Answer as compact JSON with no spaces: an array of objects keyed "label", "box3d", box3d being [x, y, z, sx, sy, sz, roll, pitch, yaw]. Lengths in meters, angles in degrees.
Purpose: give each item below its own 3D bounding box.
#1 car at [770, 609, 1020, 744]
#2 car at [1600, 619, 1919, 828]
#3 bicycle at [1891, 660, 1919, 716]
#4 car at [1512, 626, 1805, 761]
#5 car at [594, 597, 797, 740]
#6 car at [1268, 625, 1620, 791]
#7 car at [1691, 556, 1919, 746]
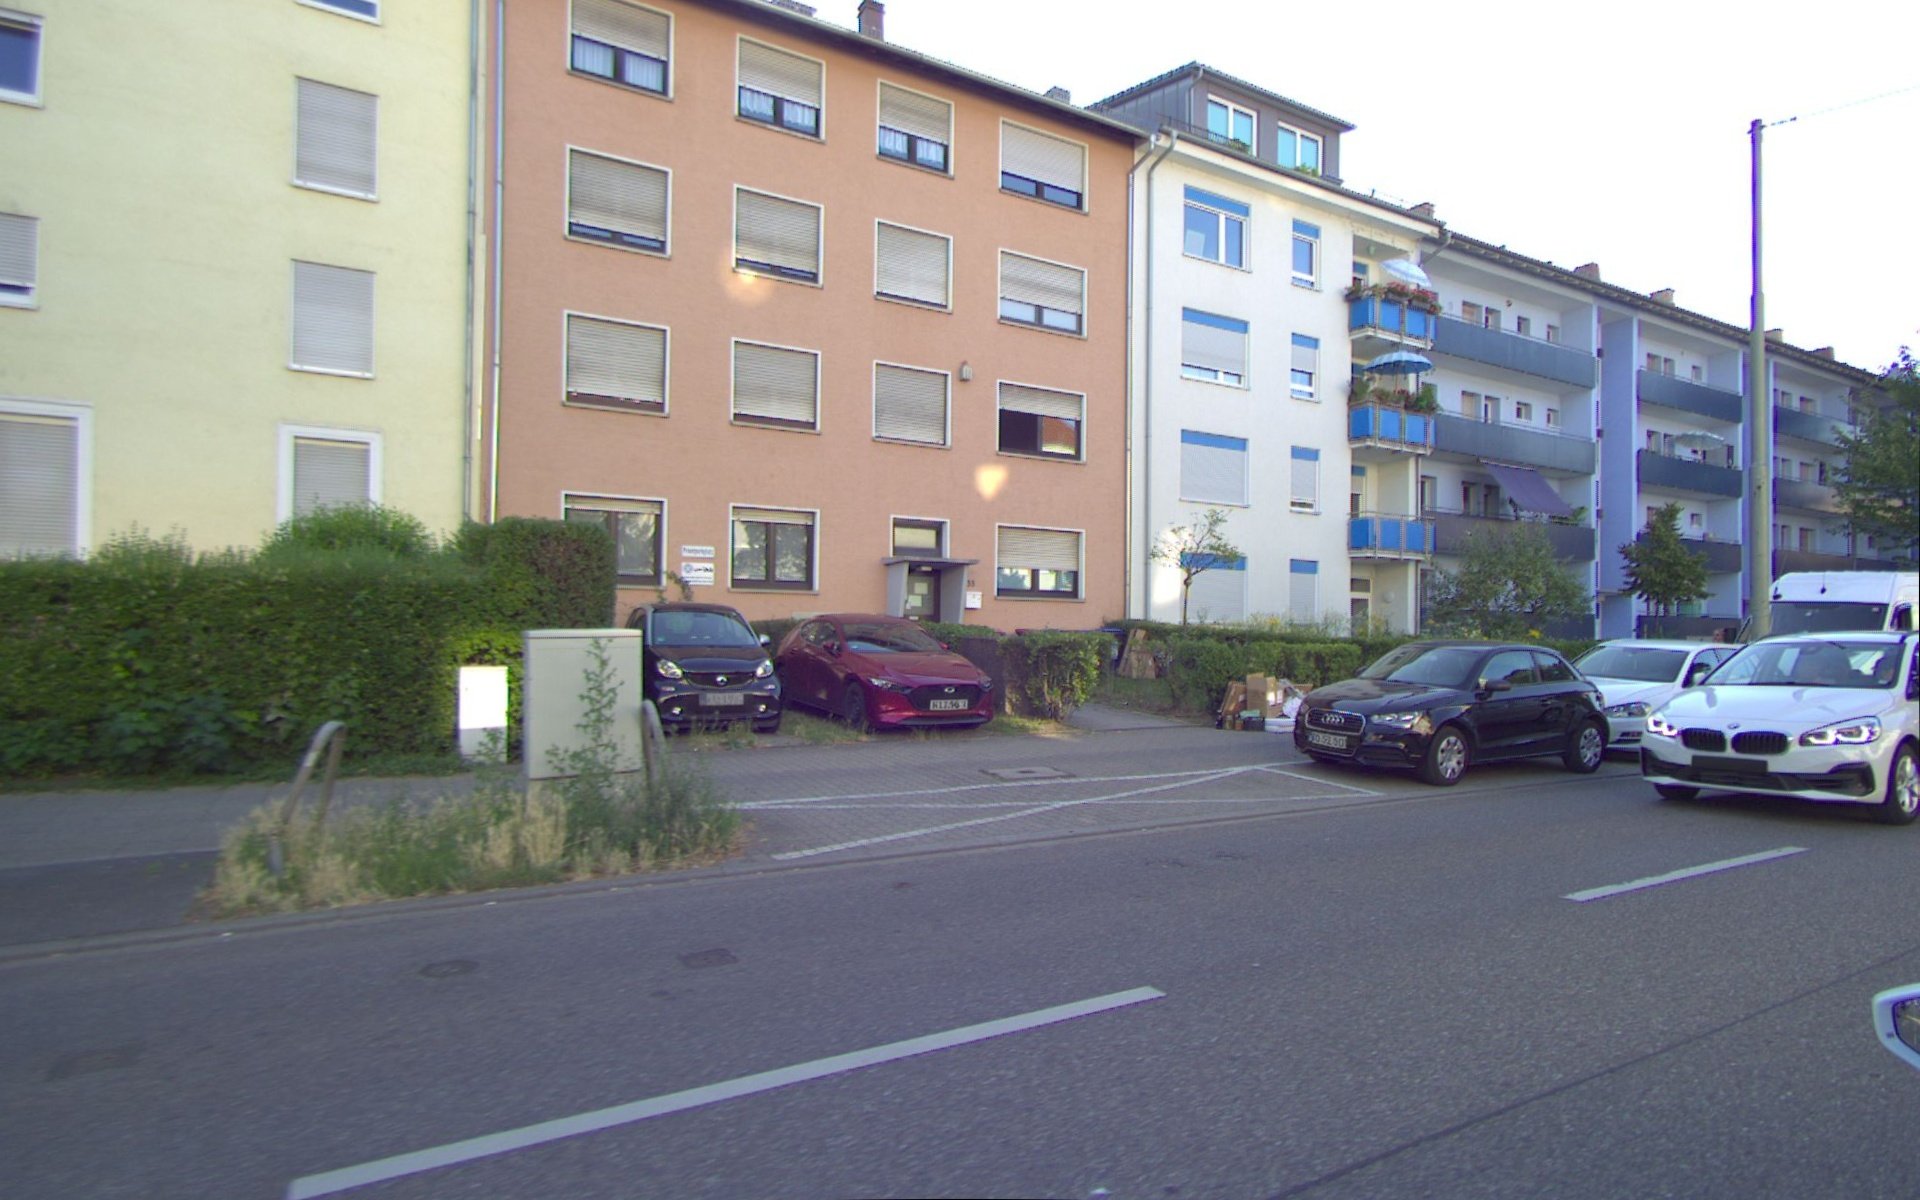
[{"label":"car","box3d":[-1.045,0.912,13.744,1.893,1.432,3.969,1,1,-29]},{"label":"car","box3d":[8.141,1.001,9.416,4.216,1.563,1.871,1,-3,-30]},{"label":"bicycle","box3d":[18.348,1.678,18.669,0.433,1.028,1.469,1,0,-22]},{"label":"car","box3d":[9.536,1.167,13.655,4.010,1.512,1.698,1,1,-30]},{"label":"car","box3d":[-3.593,0.765,13.145,1.610,1.549,3.969,1,0,-29]},{"label":"car","box3d":[5.370,1.078,11.071,3.766,1.493,1.605,1,1,-29]},{"label":"car","box3d":[15.000,0.780,16.655,7.021,2.651,1.984,1,0,-30]}]
